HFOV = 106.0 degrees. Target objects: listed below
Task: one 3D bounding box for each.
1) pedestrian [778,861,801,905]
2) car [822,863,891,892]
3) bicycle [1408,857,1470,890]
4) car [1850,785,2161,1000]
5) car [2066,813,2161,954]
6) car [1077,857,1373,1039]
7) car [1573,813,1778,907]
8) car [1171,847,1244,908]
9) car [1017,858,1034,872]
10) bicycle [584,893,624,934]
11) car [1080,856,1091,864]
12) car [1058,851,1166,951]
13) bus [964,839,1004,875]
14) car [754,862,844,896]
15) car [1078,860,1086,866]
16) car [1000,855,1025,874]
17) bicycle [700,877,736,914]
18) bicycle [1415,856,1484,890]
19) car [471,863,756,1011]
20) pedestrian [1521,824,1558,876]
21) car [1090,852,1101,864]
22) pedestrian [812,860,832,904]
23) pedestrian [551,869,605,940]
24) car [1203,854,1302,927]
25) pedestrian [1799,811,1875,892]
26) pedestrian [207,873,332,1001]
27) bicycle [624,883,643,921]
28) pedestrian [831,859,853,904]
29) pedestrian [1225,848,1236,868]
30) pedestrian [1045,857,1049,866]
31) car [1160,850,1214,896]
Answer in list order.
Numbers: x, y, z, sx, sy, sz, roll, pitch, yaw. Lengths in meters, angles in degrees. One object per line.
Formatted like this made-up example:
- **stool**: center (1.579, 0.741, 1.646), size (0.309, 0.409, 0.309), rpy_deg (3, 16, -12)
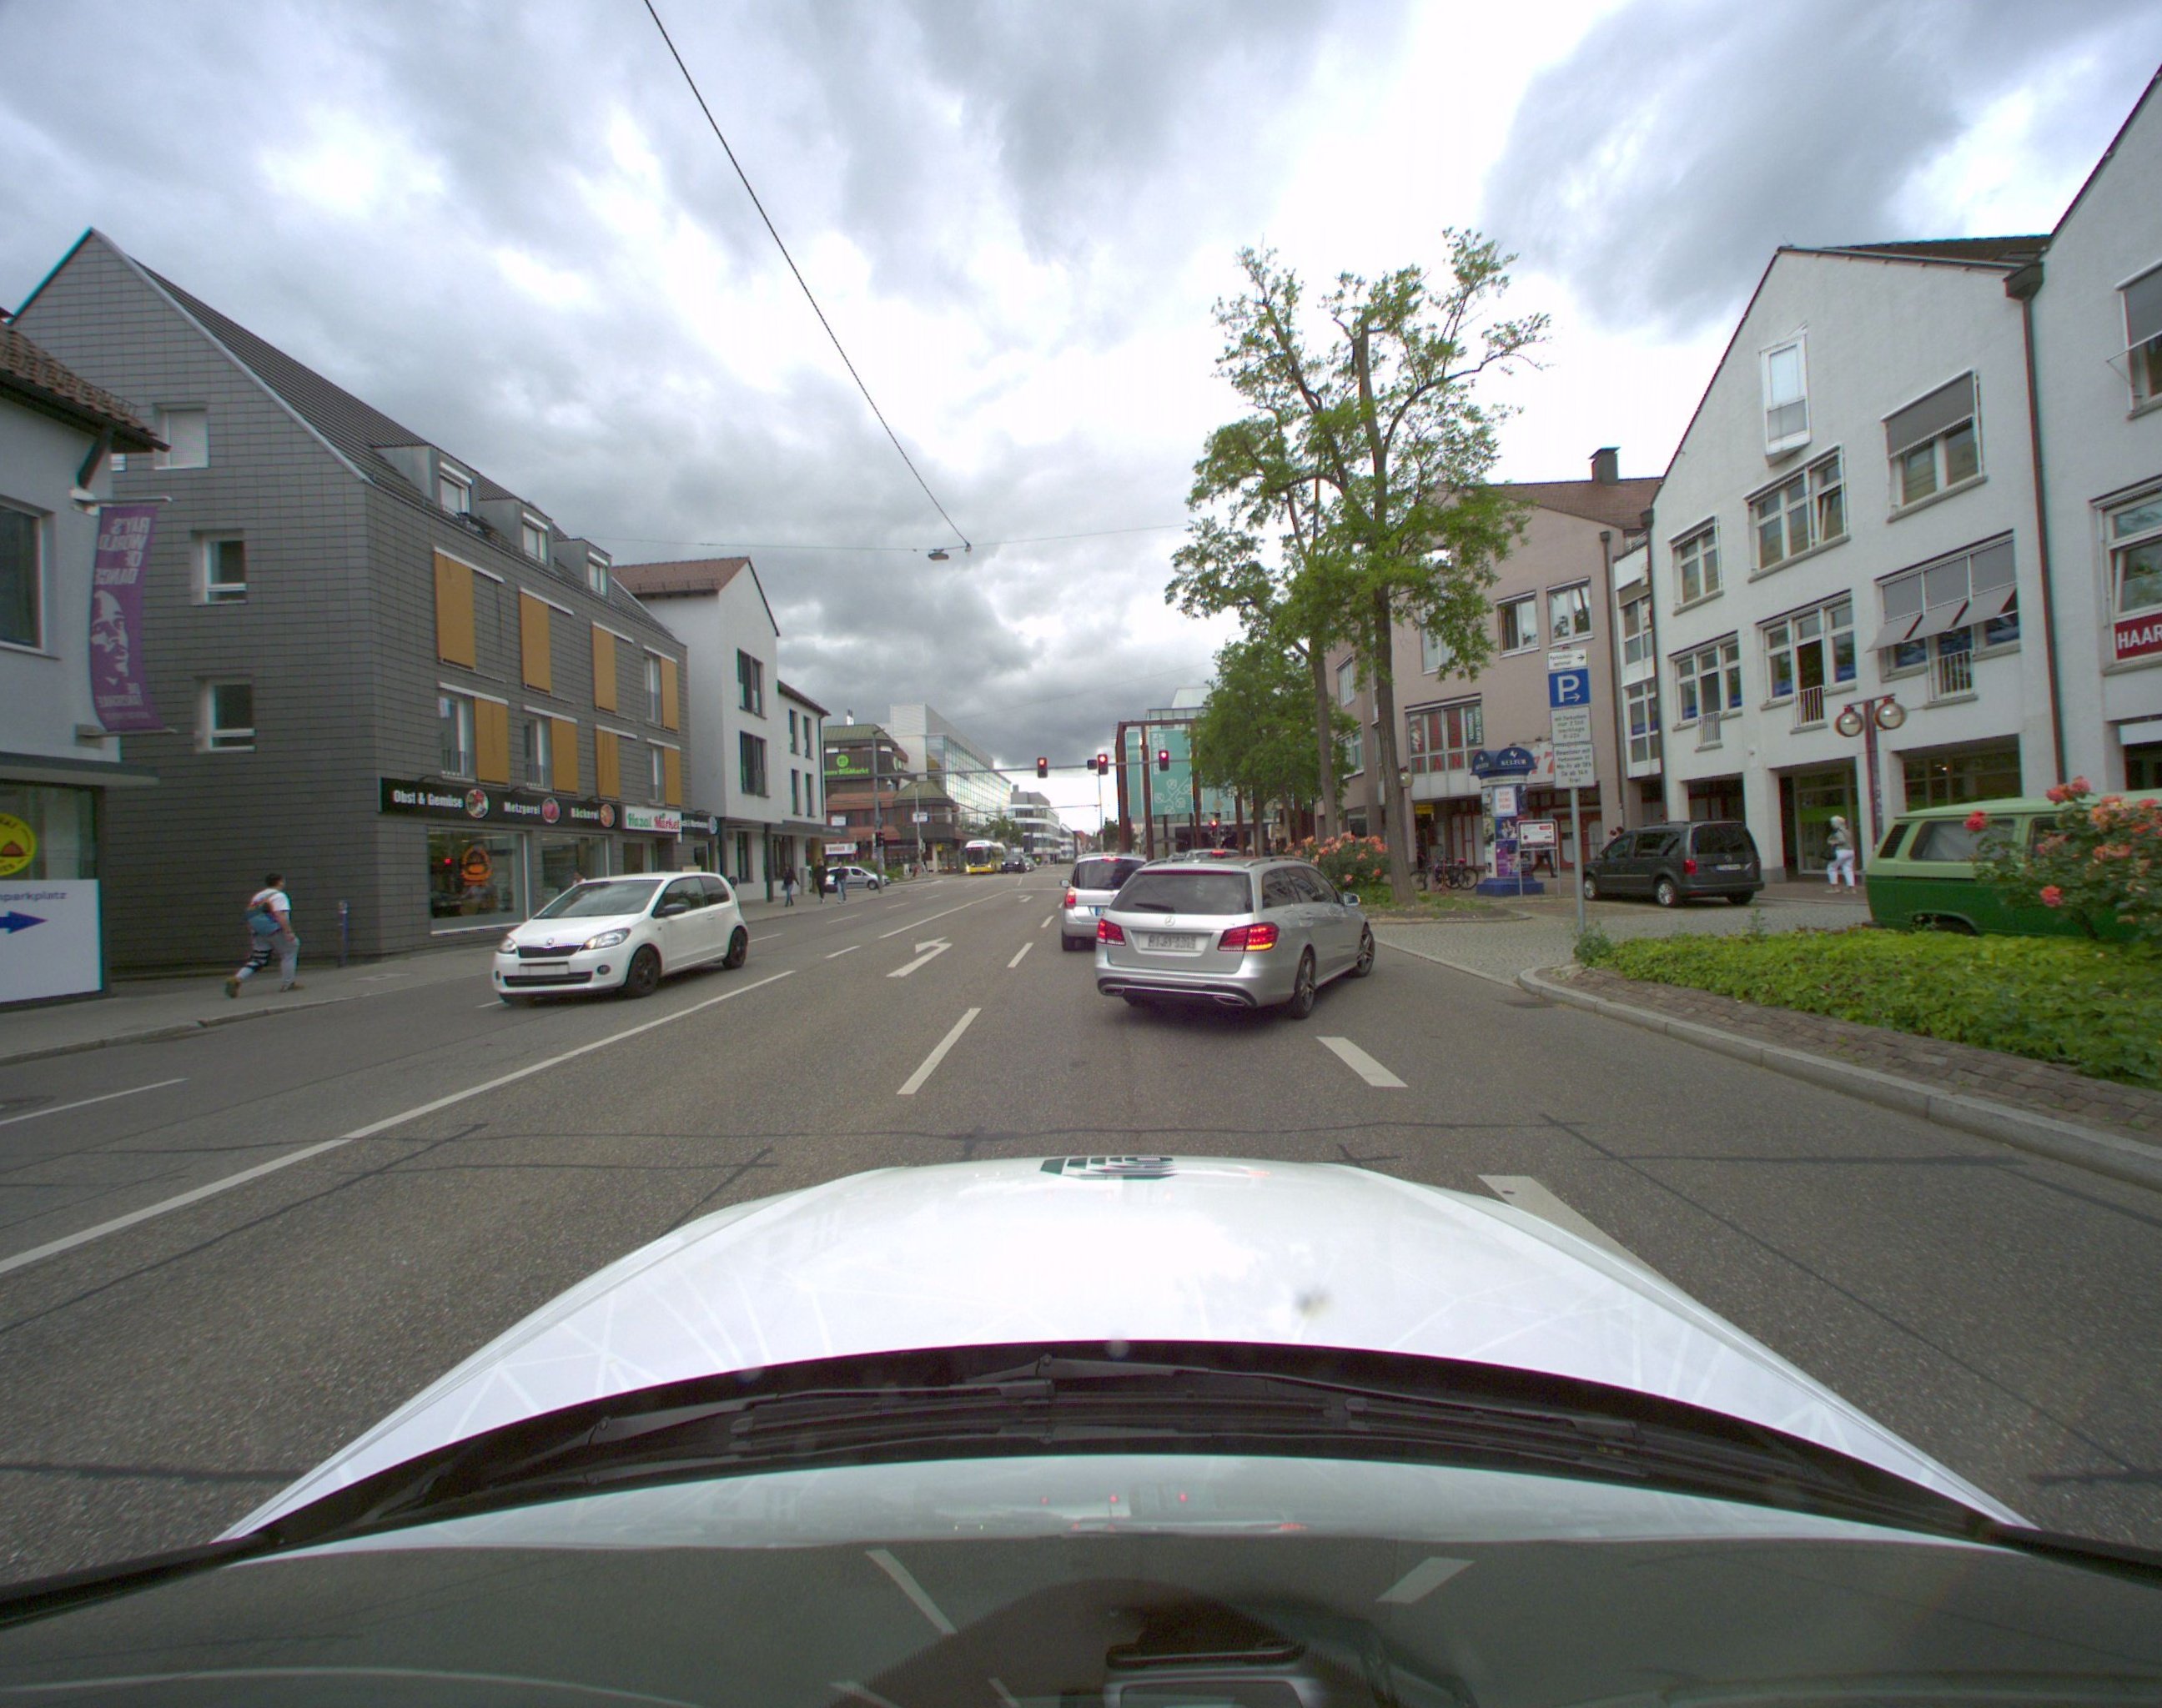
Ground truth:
- **pedestrian**: center (-11.268, 1.128, 31.518), size (0.650, 1.650, 0.558), rpy_deg (-2, 0, -5)
- **car**: center (-15.594, 1.622, 56.591), size (4.368, 1.773, 1.328), rpy_deg (-2, 0, 2)
- **bicycle**: center (11.498, 0.617, 26.187), size (1.760, 0.997, 0.447), rpy_deg (-2, 0, 6)
- **car**: center (10.313, 0.281, 7.585), size (1.874, 1.876, 4.605), rpy_deg (-4, 0, 0)
- **car**: center (12.970, 0.287, 7.760), size (1.790, 1.542, 4.393), rpy_deg (-4, 0, 0)
- **car**: center (1.836, 0.760, 8.860), size (1.798, 1.448, 4.396), rpy_deg (-1, 0, 30)
- **car**: center (13.389, 0.121, 18.687), size (1.633, 1.831, 3.963), rpy_deg (-3, 0, -2)
- **car**: center (3.644, 0.645, 24.028), size (1.581, 1.634, 3.916), rpy_deg (0, 0, 0)
- **car**: center (-5.869, 1.130, 86.295), size (1.550, 1.392, 3.288), rpy_deg (-2, 0, 1)
- **bicycle**: center (-12.376, 1.515, 21.159), size (0.325, 0.954, 1.479), rpy_deg (-2, 0, -9)
- **car**: center (0.937, 1.124, 163.704), size (1.793, 1.540, 4.068), rpy_deg (-2, 0, 3)
- **car**: center (0.536, 0.727, 14.303), size (1.634, 1.527, 3.395), rpy_deg (-1, 0, 2)
- **bus**: center (-9.573, 0.301, 81.450), size (2.677, 3.261, 8.654), rpy_deg (-2, 0, 1)
- **car**: center (-18.538, 1.613, 53.640), size (5.131, 1.888, 1.997), rpy_deg (-4, 0, -4)
- **car**: center (0.236, 2.622, 226.572), size (1.793, 1.540, 4.068), rpy_deg (-2, 0, 3)
- **car**: center (-6.590, 0.983, 78.667), size (1.987, 1.706, 4.065), rpy_deg (-2, 0, 1)
- **bicycle**: center (-12.479, 1.403, 28.022), size (0.385, 1.186, 1.825), rpy_deg (-3, 0, -1)
- **bicycle**: center (11.577, 0.595, 25.630), size (1.891, 0.997, 0.468), rpy_deg (-2, 0, 6)
- **car**: center (-5.794, 0.929, 10.616), size (1.568, 1.488, 3.465), rpy_deg (-3, 0, 1)
- **pedestrian**: center (16.165, -0.139, 28.716), size (0.786, 1.793, 0.819), rpy_deg (-2, 0, 1)
- **car**: center (2.674, 0.709, 149.212), size (1.987, 1.949, 4.951), rpy_deg (-2, 0, 1)
- **pedestrian**: center (-10.691, 1.132, 33.603), size (0.567, 1.775, 0.646), rpy_deg (-2, 0, -5)
- **pedestrian**: center (-11.905, 1.183, 19.289), size (0.725, 1.610, 0.753), rpy_deg (-2, 0, 2)
- **car**: center (3.685, 0.733, 17.992), size (1.580, 1.443, 3.350), rpy_deg (0, 0, 2)
- **pedestrian**: center (16.414, -0.046, 17.700), size (0.786, 1.659, 0.819), rpy_deg (-4, 0, 1)
- **pedestrian**: center (-11.521, 1.145, 11.596), size (0.751, 1.705, 0.981), rpy_deg (1, 0, 1)
- **bicycle**: center (-14.188, 1.502, 25.811), size (0.389, 1.127, 1.276), rpy_deg (-2, 0, -33)
- **pedestrian**: center (-9.724, 1.103, 33.142), size (0.681, 1.790, 0.647), rpy_deg (-2, 0, -9)
- **pedestrian**: center (12.181, 0.324, 66.256), size (0.652, 1.650, 0.557), rpy_deg (-2, 0, -13)
- **pedestrian**: center (-6.804, 1.516, 164.436), size (0.523, 1.734, 0.483), rpy_deg (-2, 0, -39)
- **car**: center (3.925, 0.671, 30.695), size (1.581, 1.595, 3.868), rpy_deg (0, 0, 0)
